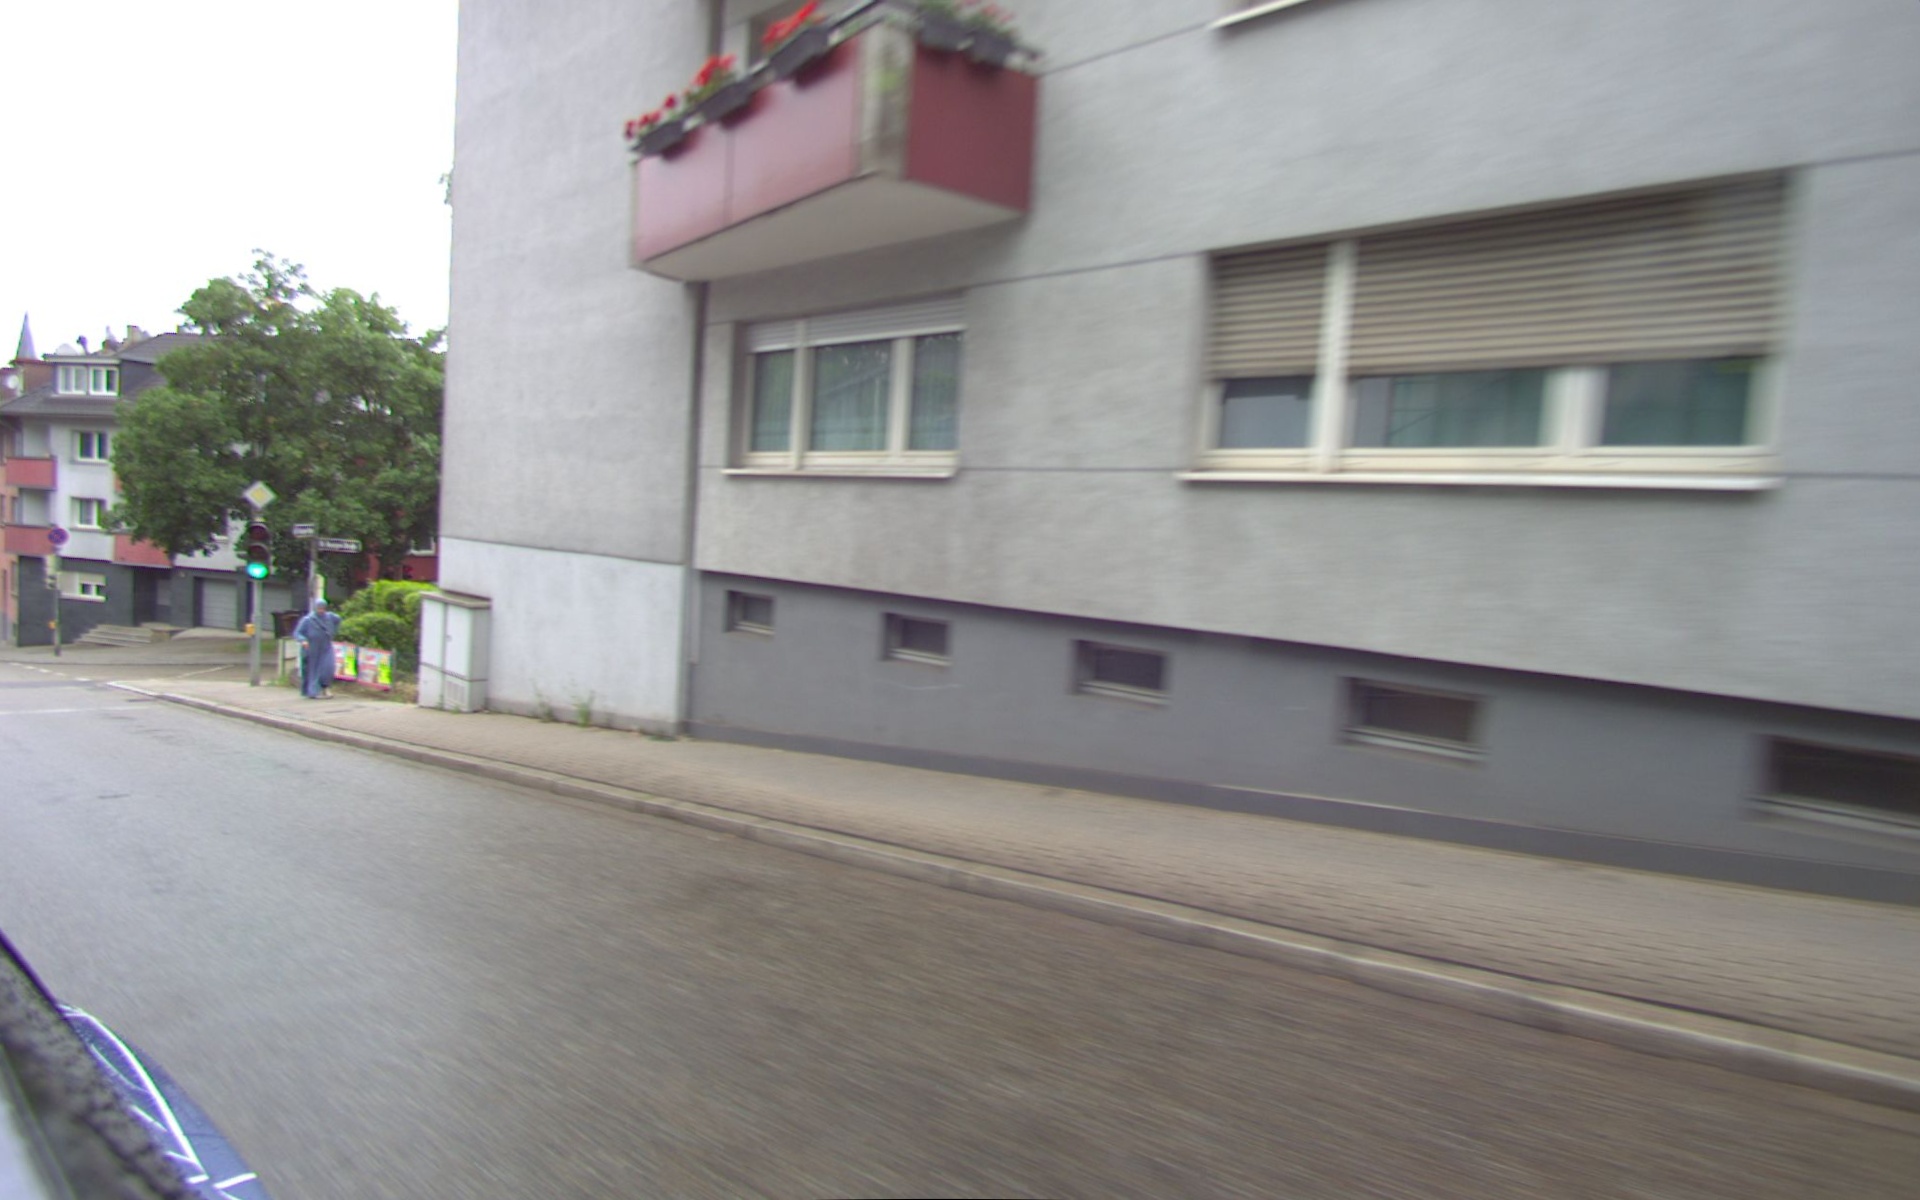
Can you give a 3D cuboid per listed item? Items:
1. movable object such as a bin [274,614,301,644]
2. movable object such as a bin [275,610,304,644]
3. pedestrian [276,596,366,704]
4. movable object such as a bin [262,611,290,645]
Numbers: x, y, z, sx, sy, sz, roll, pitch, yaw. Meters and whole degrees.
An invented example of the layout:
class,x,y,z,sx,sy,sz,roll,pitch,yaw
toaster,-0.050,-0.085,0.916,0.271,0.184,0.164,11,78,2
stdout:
class,x,y,z,sx,sy,sz,roll,pitch,yaw
movable object such as a bin,-24.601,1.052,37.016,0.496,1.023,0.627,0,2,15
movable object such as a bin,-25.064,1.001,37.840,0.682,1.208,0.559,0,2,15
pedestrian,-9.962,0.749,15.777,1.086,1.552,0.861,2,3,38
movable object such as a bin,-25.187,1.023,37.269,0.682,1.208,0.559,0,2,15
